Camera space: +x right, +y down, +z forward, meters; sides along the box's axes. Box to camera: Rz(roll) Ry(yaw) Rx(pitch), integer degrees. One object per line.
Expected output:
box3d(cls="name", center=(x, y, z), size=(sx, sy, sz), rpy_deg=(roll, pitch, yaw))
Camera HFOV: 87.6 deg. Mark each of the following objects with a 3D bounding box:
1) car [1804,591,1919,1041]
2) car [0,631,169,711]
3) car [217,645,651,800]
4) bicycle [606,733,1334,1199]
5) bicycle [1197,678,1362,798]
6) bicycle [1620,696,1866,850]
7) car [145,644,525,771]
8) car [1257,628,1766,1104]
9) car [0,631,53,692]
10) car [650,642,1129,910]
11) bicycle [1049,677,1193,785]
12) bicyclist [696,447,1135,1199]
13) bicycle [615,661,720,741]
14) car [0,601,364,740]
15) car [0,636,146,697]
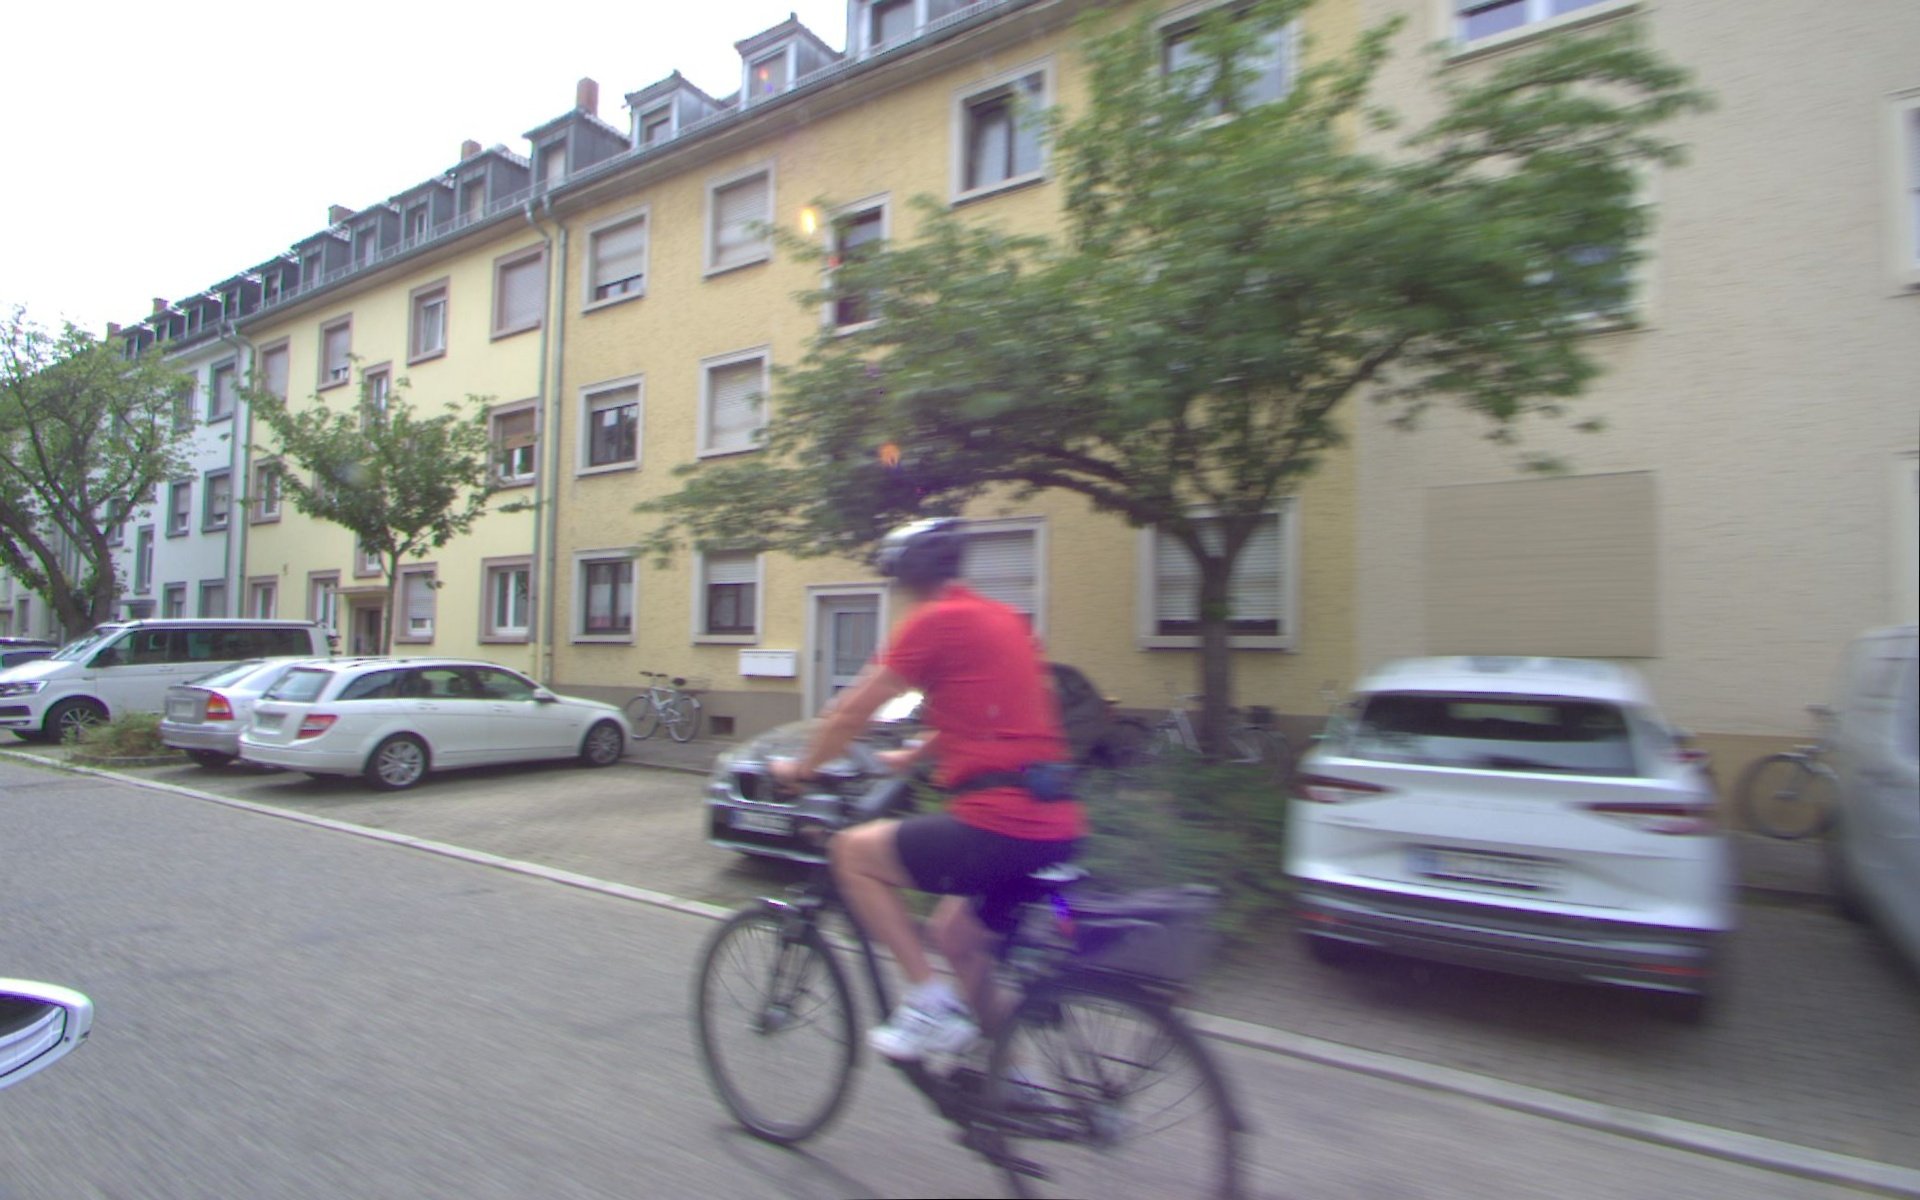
box3d(cls="car", center=(5.266, 0.932, 4.390), size=(1.825, 1.934, 4.728), rpy_deg=(-1, -2, 34))
box3d(cls="car", center=(-19.430, 1.478, 21.478), size=(1.789, 1.594, 3.472), rpy_deg=(-1, -2, 33))
box3d(cls="car", center=(-6.286, 1.345, 12.566), size=(1.824, 1.529, 4.540), rpy_deg=(-1, -2, 32))
box3d(cls="bicycle", center=(-0.051, 1.051, 2.736), size=(1.910, 1.242, 0.691), rpy_deg=(-1, -4, 34))
box3d(cls="bicycle", center=(3.397, 1.435, 10.707), size=(1.612, 1.154, 0.478), rpy_deg=(-1, -2, 32))
box3d(cls="bicycle", center=(6.674, 1.441, 8.635), size=(1.612, 1.154, 0.478), rpy_deg=(-1, -2, 32))
box3d(cls="car", center=(-8.381, 1.341, 13.810), size=(1.824, 1.432, 4.086), rpy_deg=(-1, -2, 32))
box3d(cls="car", center=(3.317, 1.037, 5.913), size=(1.825, 1.705, 4.298), rpy_deg=(-1, -2, 34))
box3d(cls="car", center=(-25.565, 1.553, 25.059), size=(1.615, 1.555, 3.979), rpy_deg=(-1, -2, 33))
box3d(cls="car", center=(-0.294, 1.183, 8.497), size=(1.825, 1.618, 4.298), rpy_deg=(-1, -2, 34))
box3d(cls="bicycle", center=(1.879, 1.508, 11.774), size=(1.612, 1.154, 0.478), rpy_deg=(-1, -2, 32))
box3d(cls="bicyclist", center=(-0.111, 0.582, 2.807), size=(0.973, 1.791, 0.691), rpy_deg=(-1, -4, 34))
box3d(cls="bicycle", center=(-4.795, 1.619, 16.359), size=(1.849, 1.215, 0.585), rpy_deg=(-1, -2, 32))
box3d(cls="car", center=(-13.640, 1.138, 17.518), size=(2.042, 2.049, 5.224), rpy_deg=(-1, -2, 30))
box3d(cls="car", center=(-22.787, 1.610, 24.646), size=(1.615, 1.438, 3.979), rpy_deg=(-1, -2, 33))
